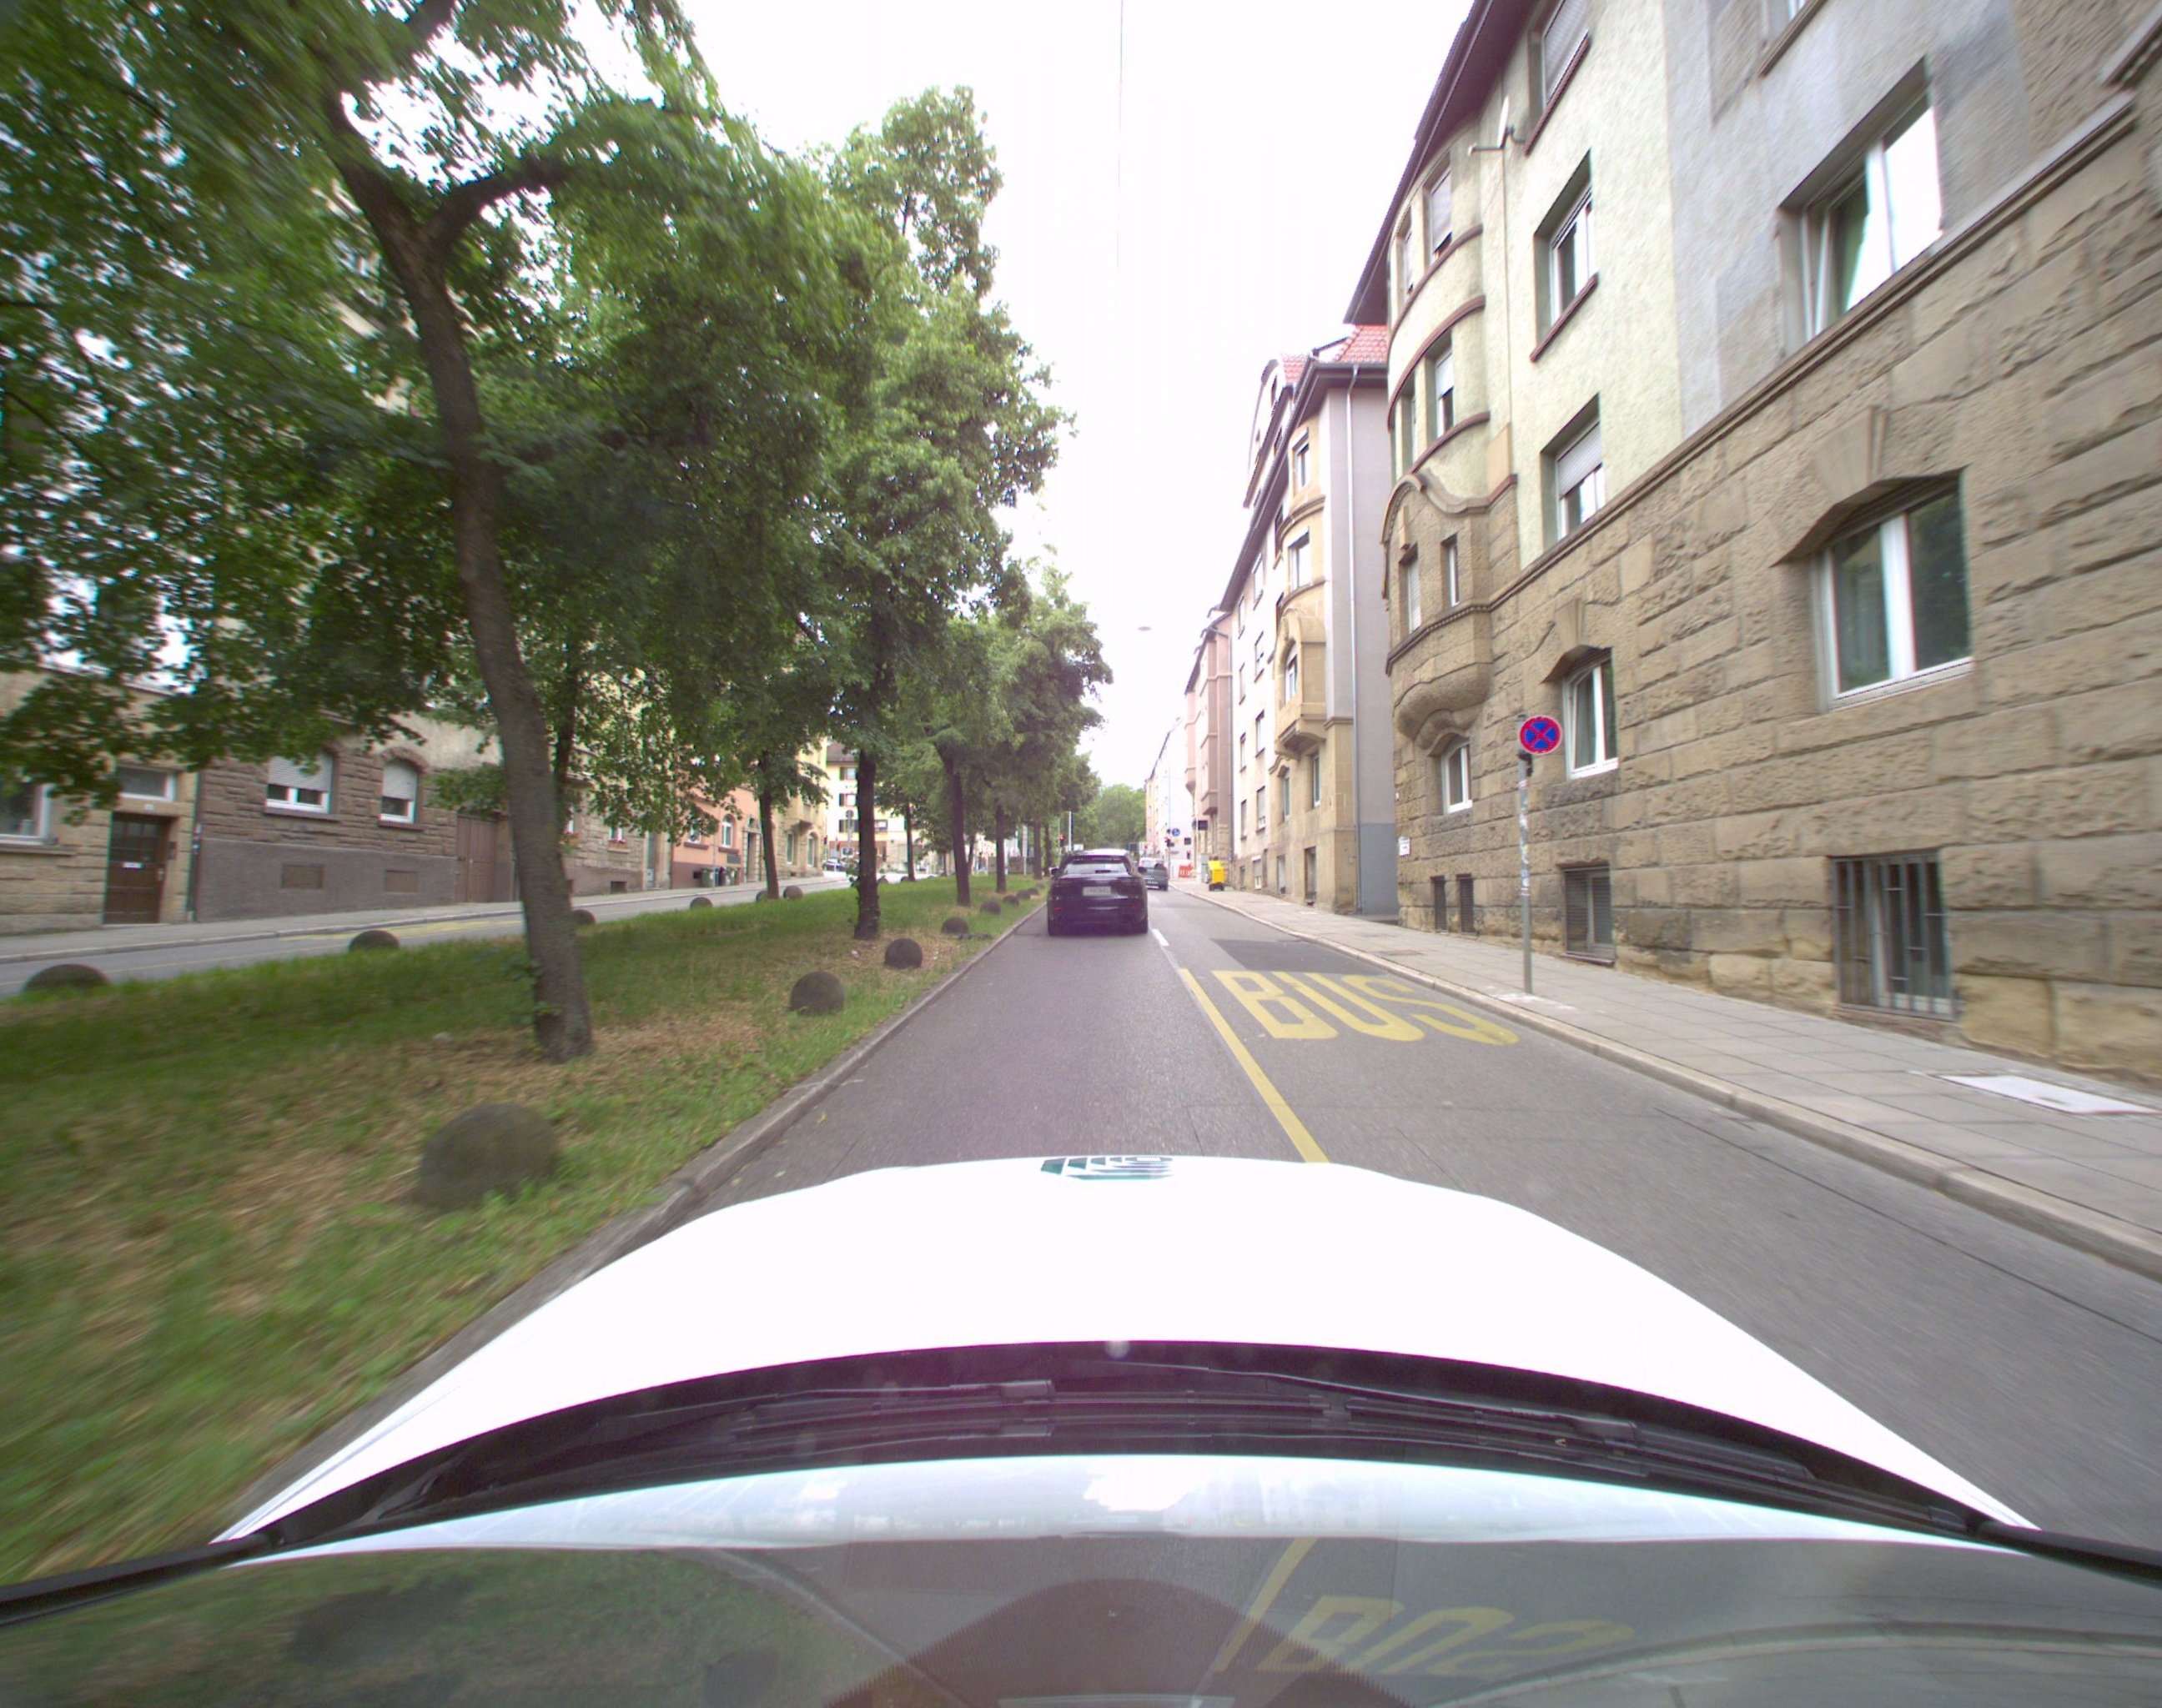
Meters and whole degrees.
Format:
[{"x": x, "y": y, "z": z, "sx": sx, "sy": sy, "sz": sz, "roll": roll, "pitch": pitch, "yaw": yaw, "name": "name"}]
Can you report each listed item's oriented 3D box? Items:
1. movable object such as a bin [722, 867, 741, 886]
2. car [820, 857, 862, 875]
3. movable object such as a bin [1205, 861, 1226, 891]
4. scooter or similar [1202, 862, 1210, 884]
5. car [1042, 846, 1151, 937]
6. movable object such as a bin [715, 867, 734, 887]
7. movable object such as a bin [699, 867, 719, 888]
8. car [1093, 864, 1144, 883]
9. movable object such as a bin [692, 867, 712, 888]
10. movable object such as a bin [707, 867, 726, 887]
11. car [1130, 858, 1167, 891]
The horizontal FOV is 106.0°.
[{"x": -16.866, "y": 1.094, "z": 39.302, "sx": 0.607, "sy": 0.904, "sz": 0.601, "roll": 1, "pitch": -1, "yaw": -3, "name": "movable object such as a bin"}, {"x": -23.590, "y": 1.244, "z": 80.031, "sx": 3.948, "sy": 1.665, "sz": 1.894, "roll": -2, "pitch": -3, "yaw": 35, "name": "car"}, {"x": 6.556, "y": 1.062, "z": 39.725, "sx": 0.717, "sy": 1.421, "sz": 1.692, "roll": -1, "pitch": -2, "yaw": -1, "name": "movable object such as a bin"}, {"x": 7.258, "y": 1.094, "z": 47.301, "sx": 0.399, "sy": 1.188, "sz": 1.356, "roll": -2, "pitch": 1, "yaw": 5, "name": "scooter or similar"}, {"x": 0.367, "y": 0.701, "z": 17.131, "sx": 1.986, "sy": 1.653, "sz": 4.002, "roll": -1, "pitch": 0, "yaw": 2, "name": "car"}, {"x": -16.897, "y": 1.091, "z": 38.586, "sx": 0.607, "sy": 0.904, "sz": 0.601, "roll": 1, "pitch": -1, "yaw": -3, "name": "movable object such as a bin"}, {"x": -16.949, "y": 1.072, "z": 37.083, "sx": 0.607, "sy": 0.904, "sz": 0.601, "roll": 1, "pitch": -1, "yaw": -3, "name": "movable object such as a bin"}, {"x": 3.258, "y": 1.681, "z": 70.664, "sx": 4.176, "sy": 1.510, "sz": 1.806, "roll": 0, "pitch": -1, "yaw": 13, "name": "car"}, {"x": -16.961, "y": 1.062, "z": 36.448, "sx": 0.607, "sy": 0.904, "sz": 0.601, "roll": 1, "pitch": -1, "yaw": -3, "name": "movable object such as a bin"}, {"x": -16.928, "y": 1.080, "z": 37.813, "sx": 0.607, "sy": 0.904, "sz": 0.601, "roll": 1, "pitch": -1, "yaw": -3, "name": "movable object such as a bin"}, {"x": 3.450, "y": 1.031, "z": 42.179, "sx": 1.745, "sy": 1.593, "sz": 3.632, "roll": -2, "pitch": -1, "yaw": 2, "name": "car"}]
